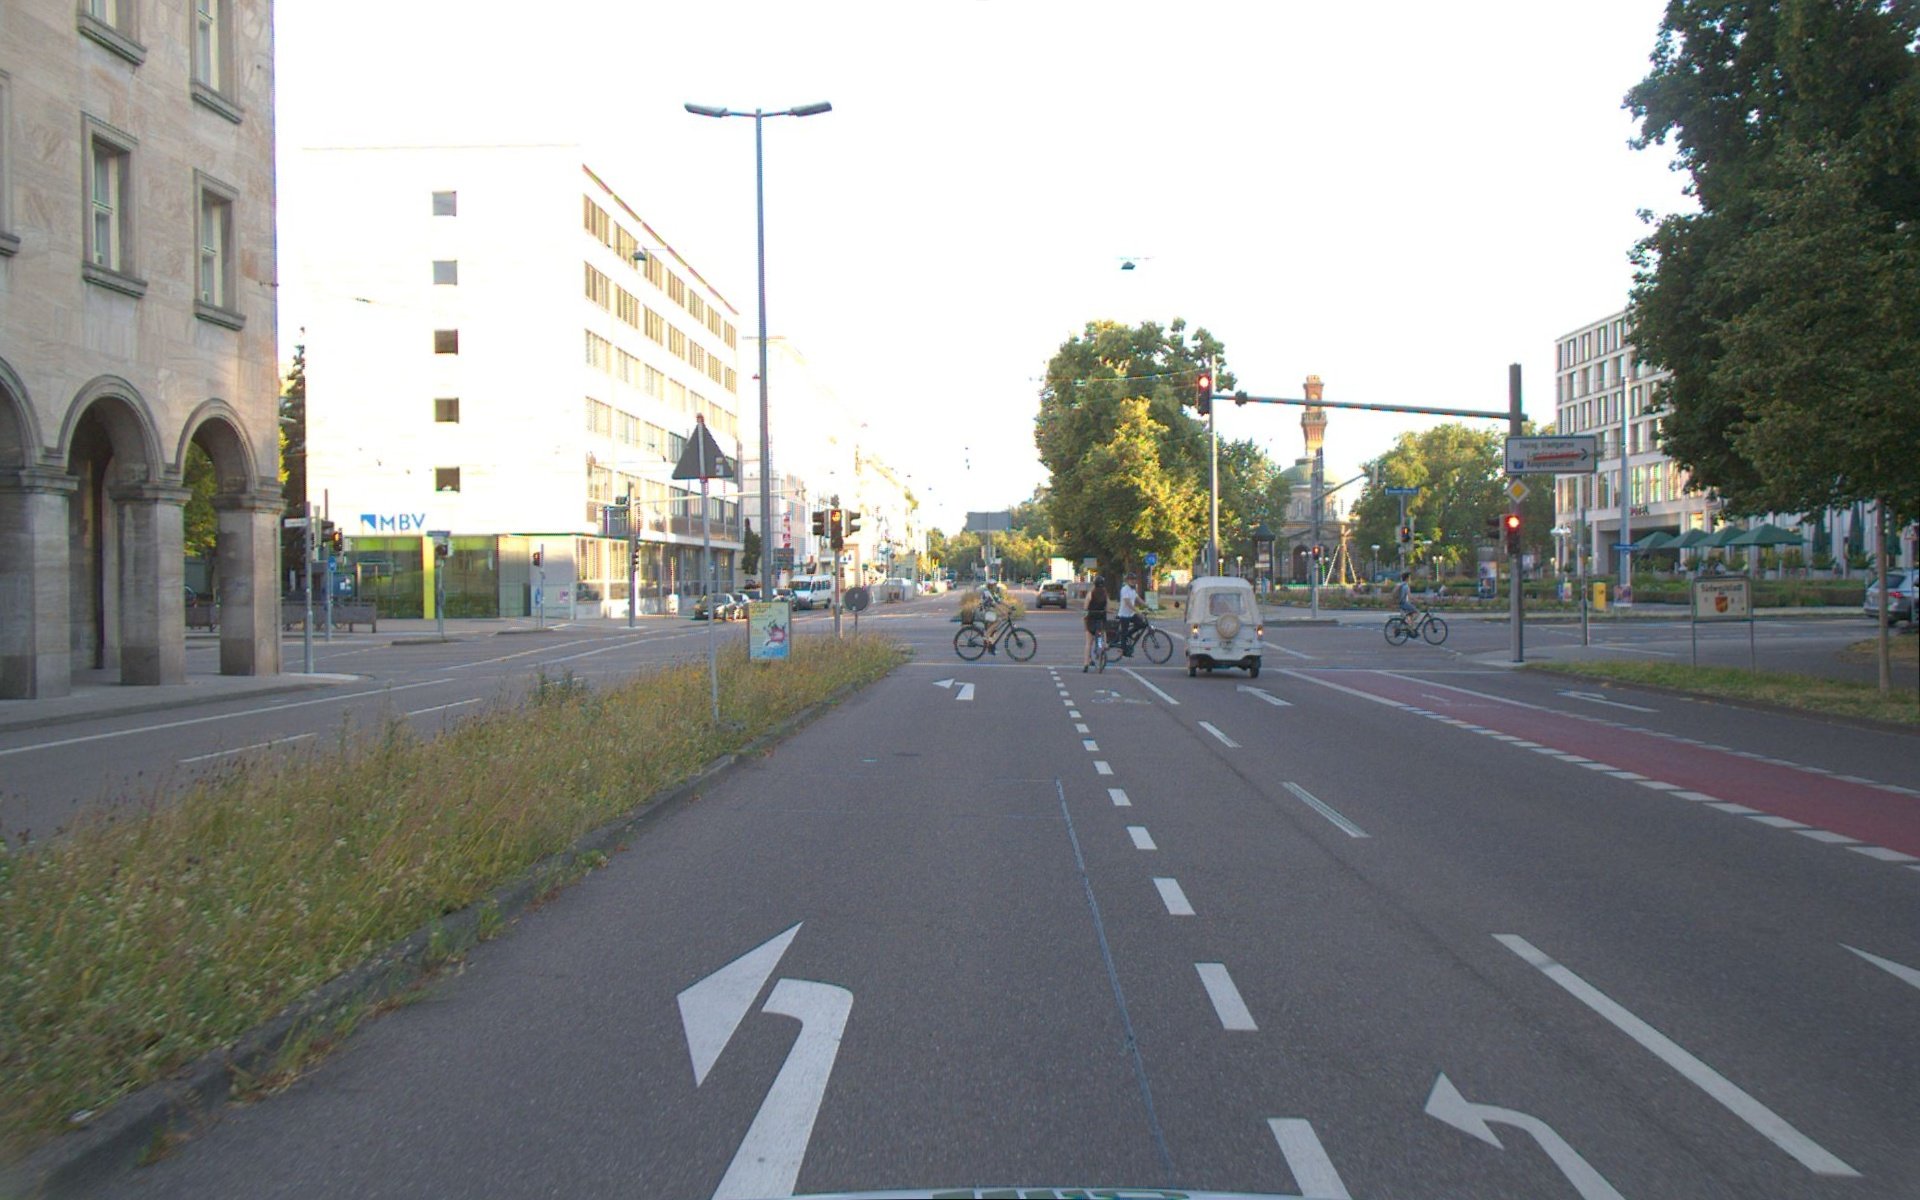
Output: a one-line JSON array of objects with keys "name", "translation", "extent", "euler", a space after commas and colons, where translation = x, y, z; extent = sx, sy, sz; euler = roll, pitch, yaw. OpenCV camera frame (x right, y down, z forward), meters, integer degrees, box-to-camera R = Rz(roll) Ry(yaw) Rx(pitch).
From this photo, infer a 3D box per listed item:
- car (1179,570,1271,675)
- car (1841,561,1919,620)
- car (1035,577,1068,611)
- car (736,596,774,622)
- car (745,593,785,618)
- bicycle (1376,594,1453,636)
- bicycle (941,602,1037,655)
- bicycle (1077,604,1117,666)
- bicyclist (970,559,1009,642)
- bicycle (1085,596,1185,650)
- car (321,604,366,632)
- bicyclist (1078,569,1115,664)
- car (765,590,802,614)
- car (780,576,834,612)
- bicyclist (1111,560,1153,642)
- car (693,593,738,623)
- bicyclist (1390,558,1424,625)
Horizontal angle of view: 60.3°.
[{"name": "car", "translation": [4.812, 0.365, 30.242], "extent": [1.429, 1.811, 2.566], "euler": [0, 1, 4]}, {"name": "car", "translation": [28.626, -0.305, 48.636], "extent": [4.446, 1.677, 1.997], "euler": [-1, 0, -7]}, {"name": "car", "translation": [5.815, -0.398, 105.460], "extent": [1.952, 2.049, 4.001], "euler": [-1, 0, 1]}, {"name": "car", "translation": [-12.644, 0.567, 102.103], "extent": [1.759, 1.501, 4.000], "euler": [-1, -2, 1]}, {"name": "car", "translation": [-12.607, 0.374, 107.072], "extent": [1.758, 1.501, 4.002], "euler": [-1, -2, 5]}, {"name": "bicycle", "translation": [12.004, 0.398, 43.740], "extent": [1.856, 1.087, 0.731], "euler": [0, 0, 4]}, {"name": "bicycle", "translation": [0.629, 0.610, 35.213], "extent": [1.972, 1.087, 0.731], "euler": [-1, 0, 6]}, {"name": "bicycle", "translation": [2.546, 0.636, 30.880], "extent": [0.624, 1.087, 2.070], "euler": [0, 1, 2]}, {"name": "bicyclist", "translation": [0.641, 0.008, 35.202], "extent": [0.730, 1.723, 0.716], "euler": [-1, 0, 7]}, {"name": "bicycle", "translation": [3.716, 0.486, 35.139], "extent": [2.014, 1.087, 0.787], "euler": [-1, 0, 14]}, {"name": "car", "translation": [-25.163, 0.736, 67.519], "extent": [0.836, 1.092, 2.522], "euler": [-1, 0, 1]}, {"name": "bicyclist", "translation": [2.523, 0.298, 30.564], "extent": [0.615, 1.723, 0.748], "euler": [-1, 0, 1]}, {"name": "car", "translation": [-12.106, 0.176, 113.464], "extent": [1.758, 1.501, 4.002], "euler": [-1, -2, 5]}, {"name": "car", "translation": [-11.049, -0.404, 120.034], "extent": [2.130, 2.427, 5.993], "euler": [-1, -2, 13]}, {"name": "bicyclist", "translation": [3.660, 0.019, 35.147], "extent": [0.730, 1.723, 0.766], "euler": [-1, 0, 16]}, {"name": "car", "translation": [-13.332, 0.455, 90.337], "extent": [1.759, 1.501, 4.000], "euler": [-1, -2, 1]}, {"name": "bicyclist", "translation": [11.819, -0.223, 43.753], "extent": [0.730, 1.723, 0.716], "euler": [-1, 0, 5]}]
